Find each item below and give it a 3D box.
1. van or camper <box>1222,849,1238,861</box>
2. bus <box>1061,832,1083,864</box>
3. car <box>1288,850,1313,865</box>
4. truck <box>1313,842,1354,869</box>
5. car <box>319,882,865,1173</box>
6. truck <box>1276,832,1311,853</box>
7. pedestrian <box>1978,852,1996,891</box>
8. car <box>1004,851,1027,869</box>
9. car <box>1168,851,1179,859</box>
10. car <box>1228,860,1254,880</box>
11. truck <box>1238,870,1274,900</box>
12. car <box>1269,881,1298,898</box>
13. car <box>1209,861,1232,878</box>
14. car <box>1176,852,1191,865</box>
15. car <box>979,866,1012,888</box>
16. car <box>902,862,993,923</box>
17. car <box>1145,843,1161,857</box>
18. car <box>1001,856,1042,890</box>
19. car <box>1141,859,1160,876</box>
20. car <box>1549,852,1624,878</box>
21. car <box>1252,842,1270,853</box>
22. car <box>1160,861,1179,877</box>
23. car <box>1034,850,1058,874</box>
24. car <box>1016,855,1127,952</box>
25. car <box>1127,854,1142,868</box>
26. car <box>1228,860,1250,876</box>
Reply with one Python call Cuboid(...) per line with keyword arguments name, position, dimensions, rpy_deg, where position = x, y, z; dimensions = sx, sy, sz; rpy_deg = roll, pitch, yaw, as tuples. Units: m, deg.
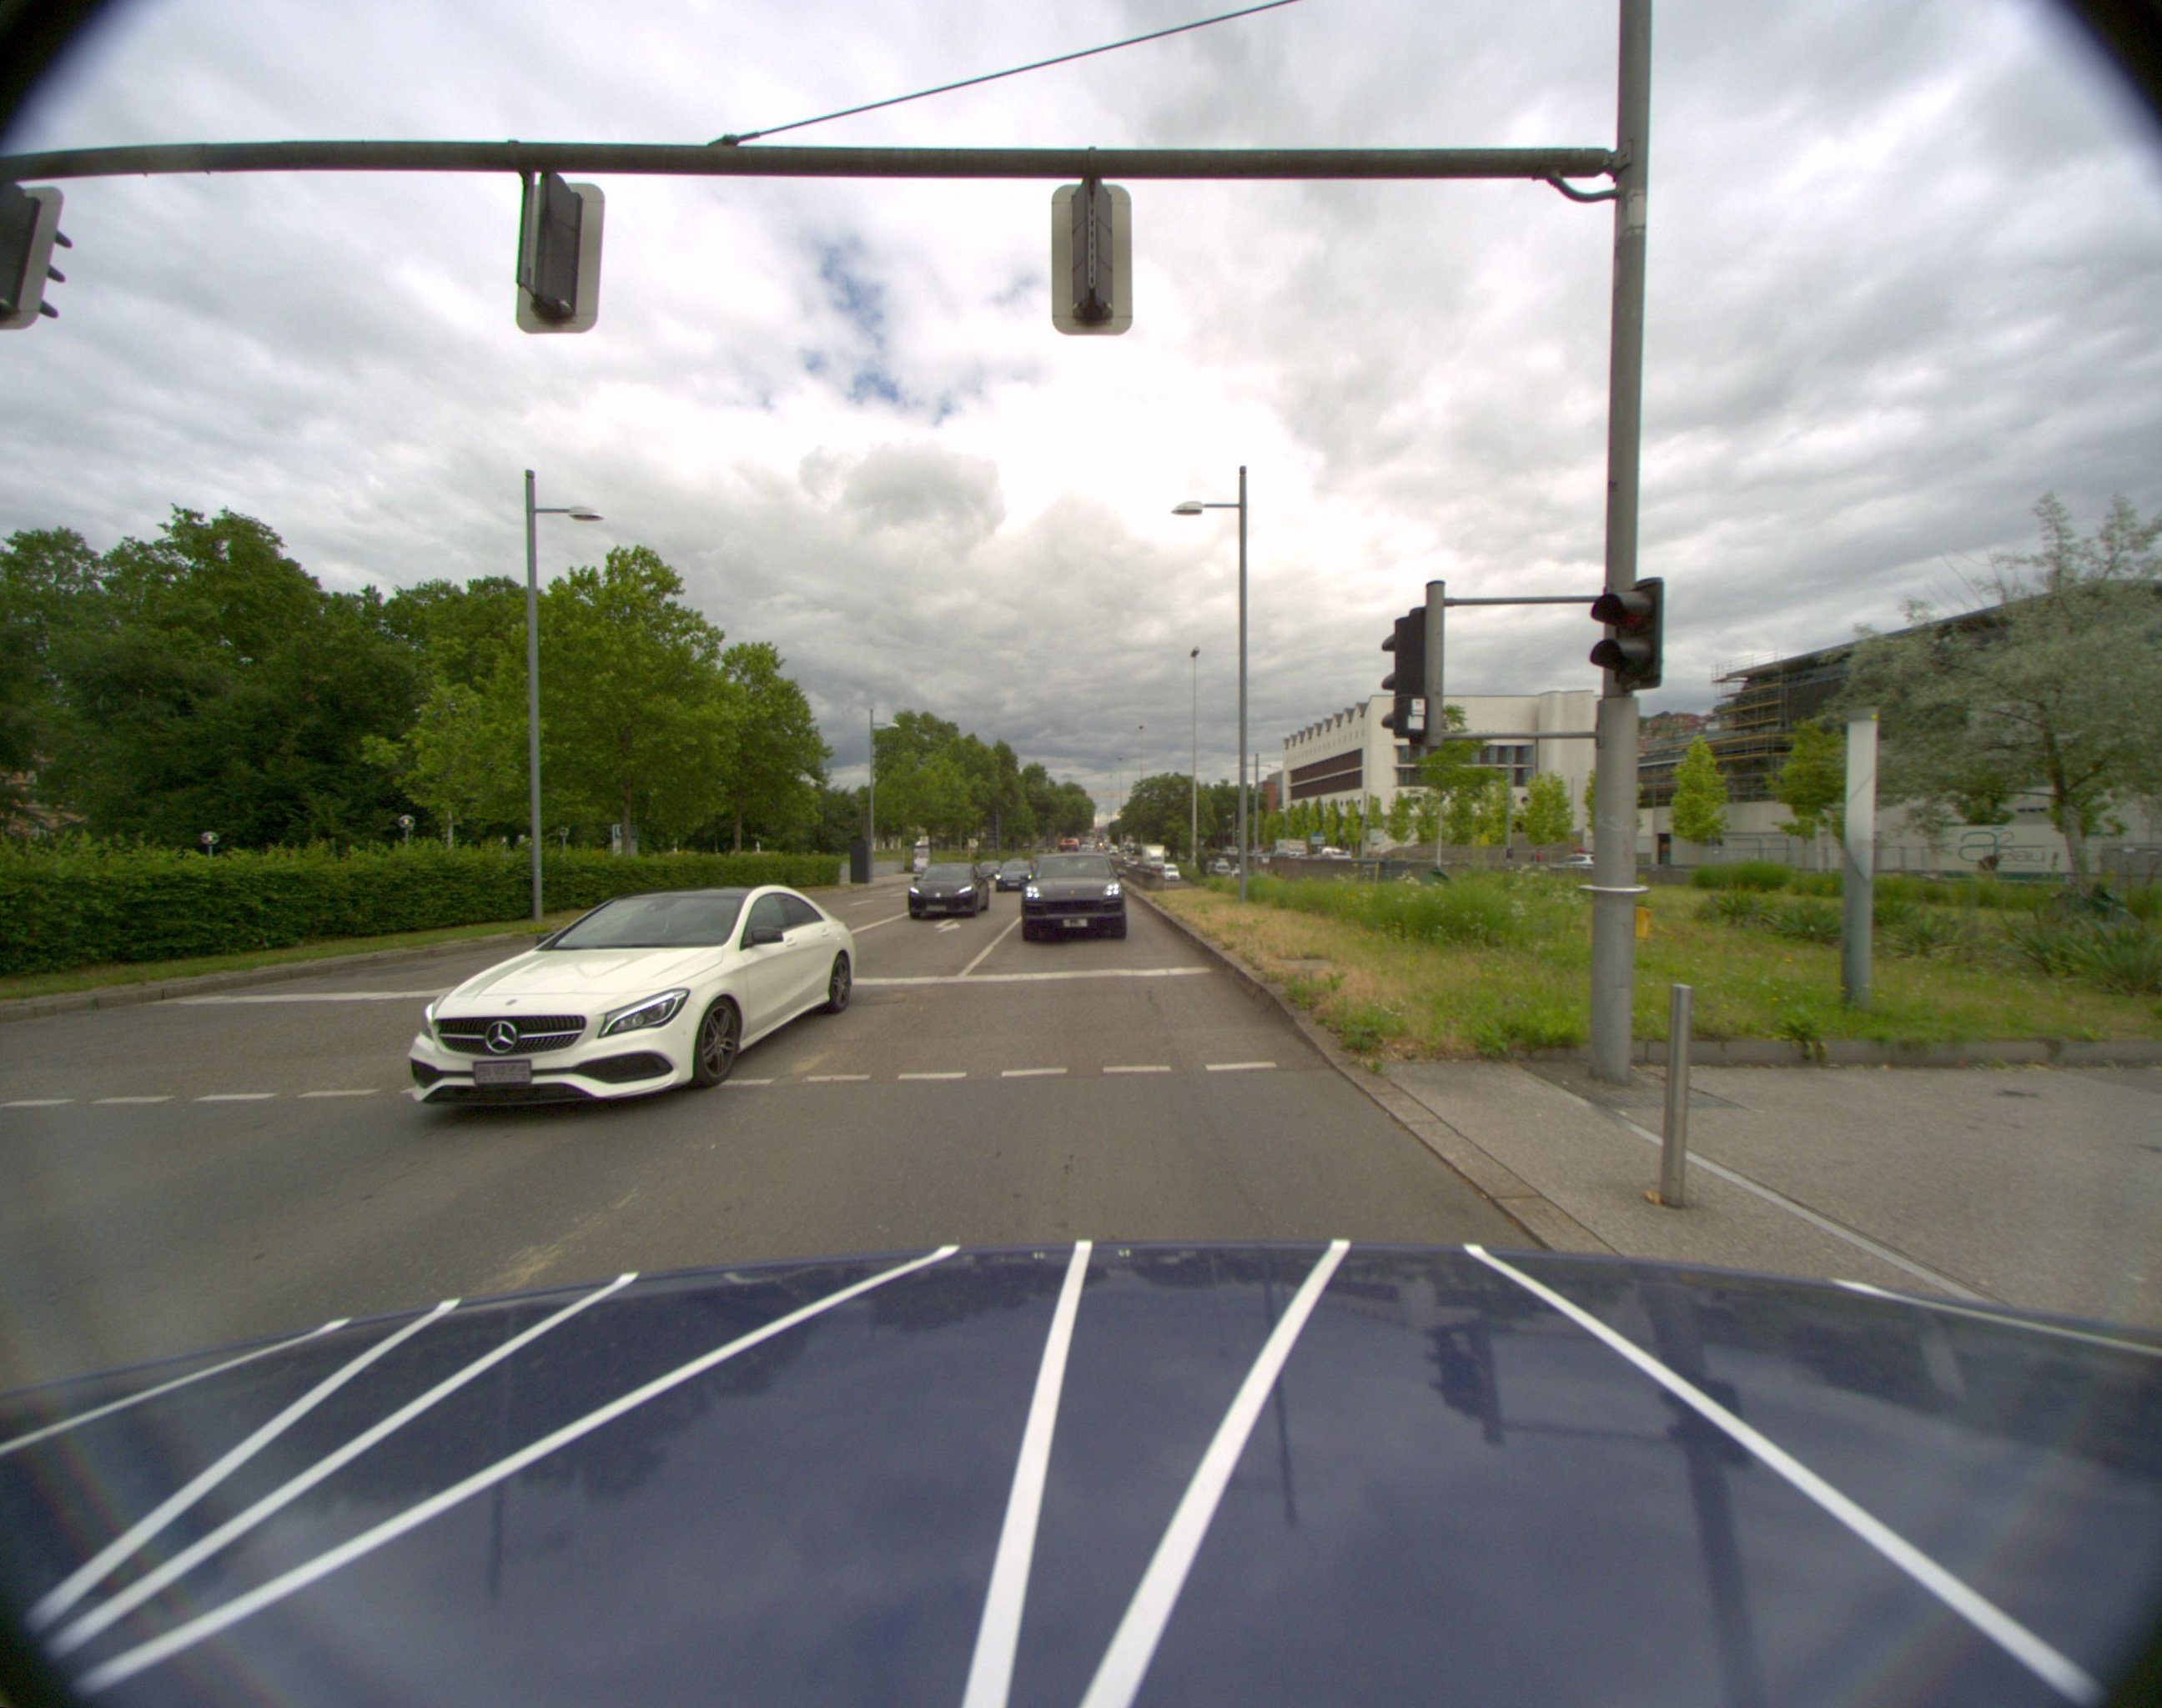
Cuboid(name="van or camper", position=(25.887, 0.183, 132.185), dimensions=(1.998, 2.002, 4.557), rpy_deg=(-1, 0, 0))
Cuboid(name="bus", position=(-1.291, -0.901, 108.770), dimensions=(3.043, 4.327, 8.748), rpy_deg=(-1, 1, -1))
Cuboid(name="car", position=(28.014, 0.437, 96.957), dimensions=(1.998, 1.805, 4.258), rpy_deg=(-1, 0, 0))
Cuboid(name="truck", position=(28.209, 0.207, 85.167), dimensions=(2.470, 2.800, 7.079), rpy_deg=(-1, 0, 2))
Cuboid(name="car", position=(-3.417, 1.074, 6.567), dimensions=(1.723, 1.415, 4.505), rpy_deg=(-1, 1, 1))
Cuboid(name="truck", position=(30.862, -1.634, 110.877), dimensions=(3.239, 2.771, 7.254), rpy_deg=(-1, 0, 2))
Cuboid(name="pedestrian", position=(35.324, 0.680, 29.636), dimensions=(0.318, 1.513, 0.316), rpy_deg=(-2, 1, -6))
Cuboid(name="car", position=(-6.222, 0.553, 72.250), dimensions=(1.723, 1.528, 4.001), rpy_deg=(-1, 1, 1))
Cuboid(name="car", position=(17.676, 0.127, 145.432), dimensions=(1.675, 1.477, 3.361), rpy_deg=(0, 1, 0))
Cuboid(name="car", position=(17.565, 1.735, 83.427), dimensions=(1.998, 2.002, 4.000), rpy_deg=(2, 0, 0))
Cuboid(name="truck", position=(17.366, 3.033, 75.678), dimensions=(2.324, 2.675, 5.979), rpy_deg=(-1, 0, 1))
Cuboid(name="car", position=(21.368, 3.694, 80.376), dimensions=(1.998, 1.543, 3.999), rpy_deg=(-2, 0, 0))
Cuboid(name="car", position=(17.487, 1.973, 95.551), dimensions=(1.998, 2.002, 4.333), rpy_deg=(2, 0, 0))
Cuboid(name="car", position=(17.755, 0.841, 131.669), dimensions=(1.998, 2.119, 4.852), rpy_deg=(2, 0, 0))
Cuboid(name="car", position=(-6.180, 1.654, 55.222), dimensions=(1.867, 1.412, 4.000), rpy_deg=(-2, 0, 1))
Cuboid(name="car", position=(-3.703, 1.023, 21.849), dimensions=(1.830, 1.515, 4.120), rpy_deg=(-1, 0, 0))
Cuboid(name="car", position=(10.352, -0.589, 108.879), dimensions=(1.997, 2.002, 4.002), rpy_deg=(-2, 1, 9))
Cuboid(name="car", position=(-2.864, 0.894, 37.213), dimensions=(1.573, 1.528, 4.001), rpy_deg=(-2, 0, 2))
Cuboid(name="car", position=(8.394, 1.660, 92.410), dimensions=(1.998, 2.002, 4.000), rpy_deg=(0, 0, 0))
Cuboid(name="car", position=(31.524, 0.680, 47.575), dimensions=(1.723, 1.565, 4.613), rpy_deg=(-1, 0, 2))
Cuboid(name="car", position=(27.614, -1.007, 116.626), dimensions=(1.723, 1.565, 4.271), rpy_deg=(-1, 0, 2))
Cuboid(name="car", position=(11.222, 1.890, 96.425), dimensions=(1.998, 2.001, 4.001), rpy_deg=(-1, -1, 1))
Cuboid(name="car", position=(-2.870, 0.649, 63.756), dimensions=(1.723, 1.851, 4.430), rpy_deg=(-1, 1, 1))
Cuboid(name="car", position=(-0.143, 0.871, 15.752), dimensions=(1.938, 1.668, 4.679), rpy_deg=(-1, 0, 0))
Cuboid(name="car", position=(7.962, 1.019, 112.897), dimensions=(1.998, 2.002, 4.000), rpy_deg=(0, 0, 0))
Cuboid(name="car", position=(20.982, 1.785, 100.835), dimensions=(1.998, 2.002, 4.000), rpy_deg=(2, 0, 0))
